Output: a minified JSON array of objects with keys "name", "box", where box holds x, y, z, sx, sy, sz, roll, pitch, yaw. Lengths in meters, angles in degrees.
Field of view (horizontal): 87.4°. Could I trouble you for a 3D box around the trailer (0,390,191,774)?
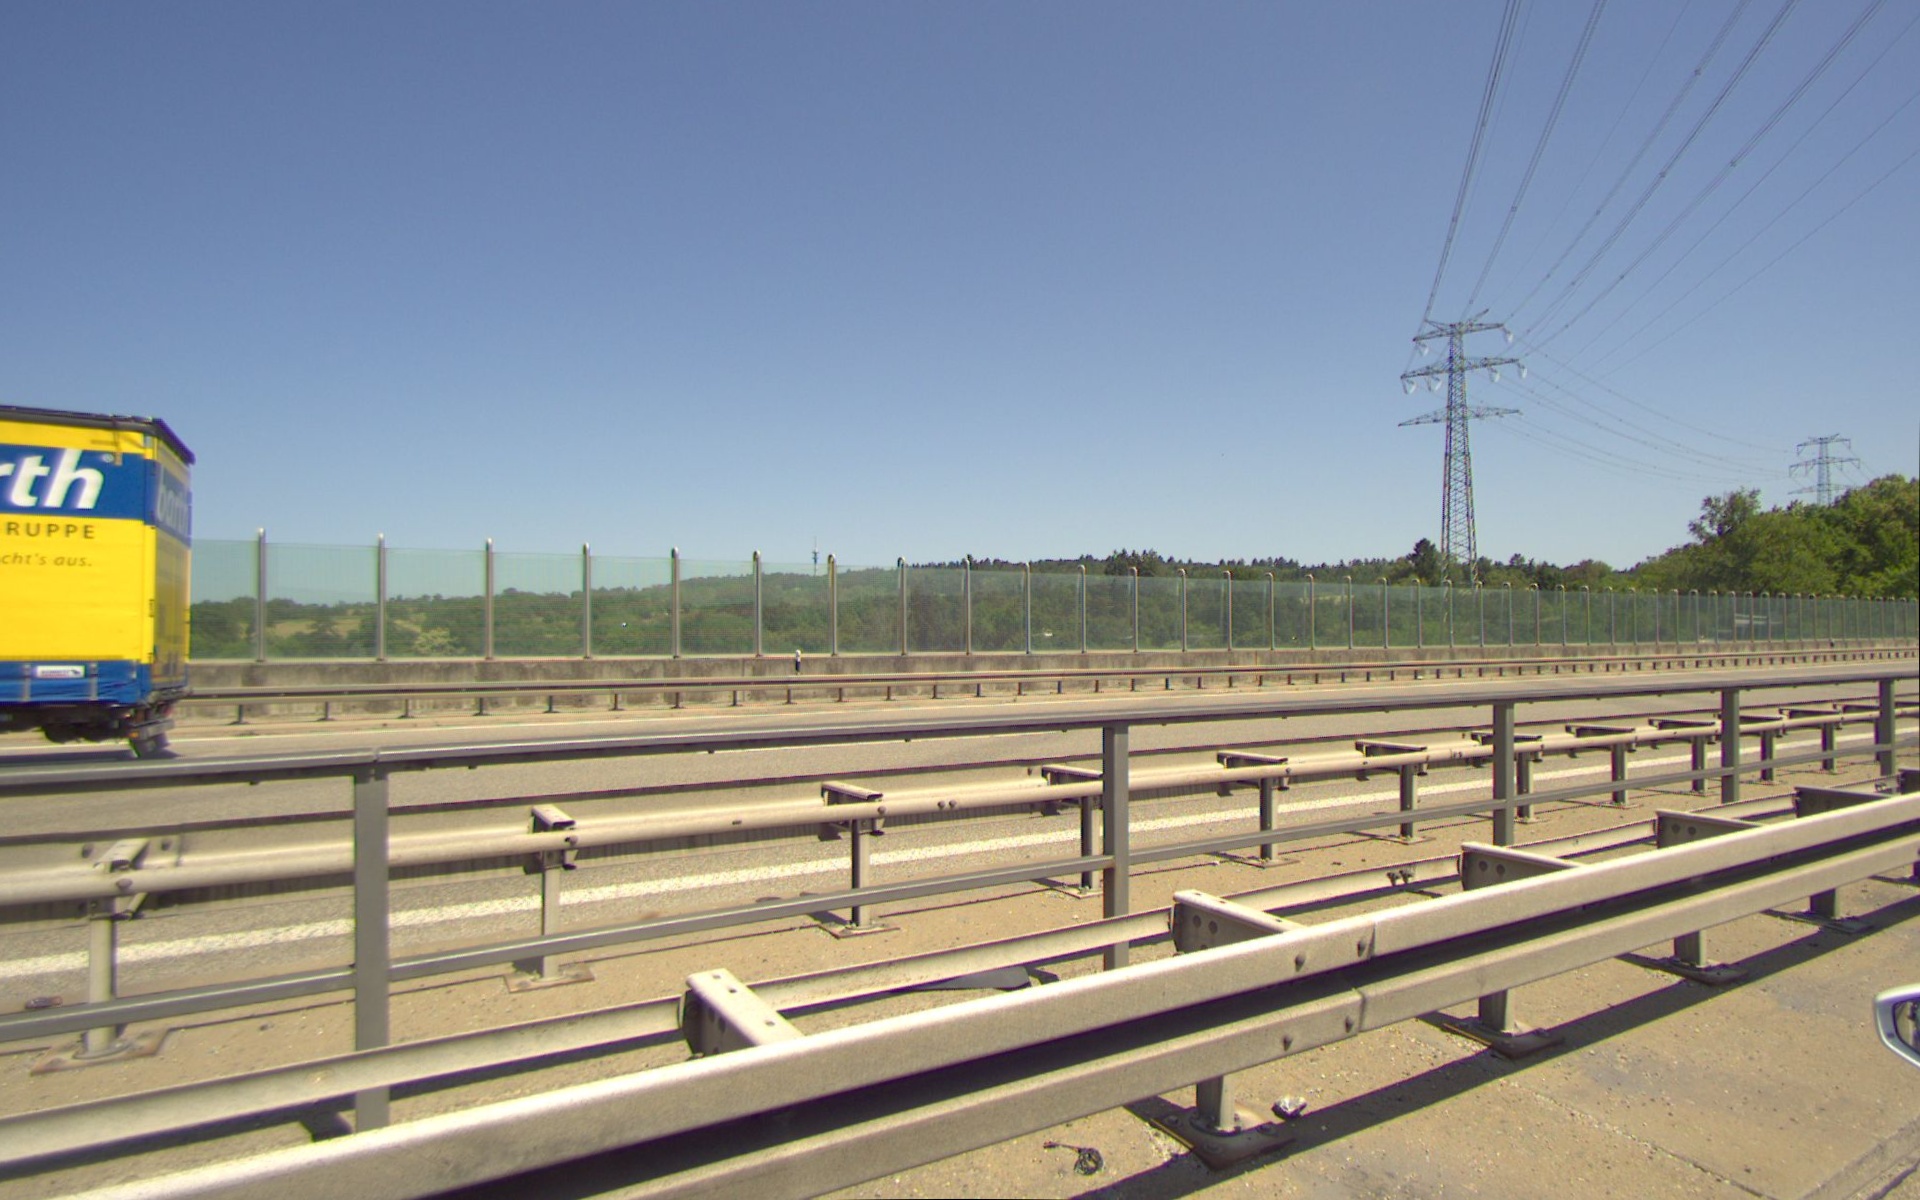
[{"name":"trailer","box":[-15.603,-0.249,8.917,13.644,4.117,2.411,1,-2,-31]}]
